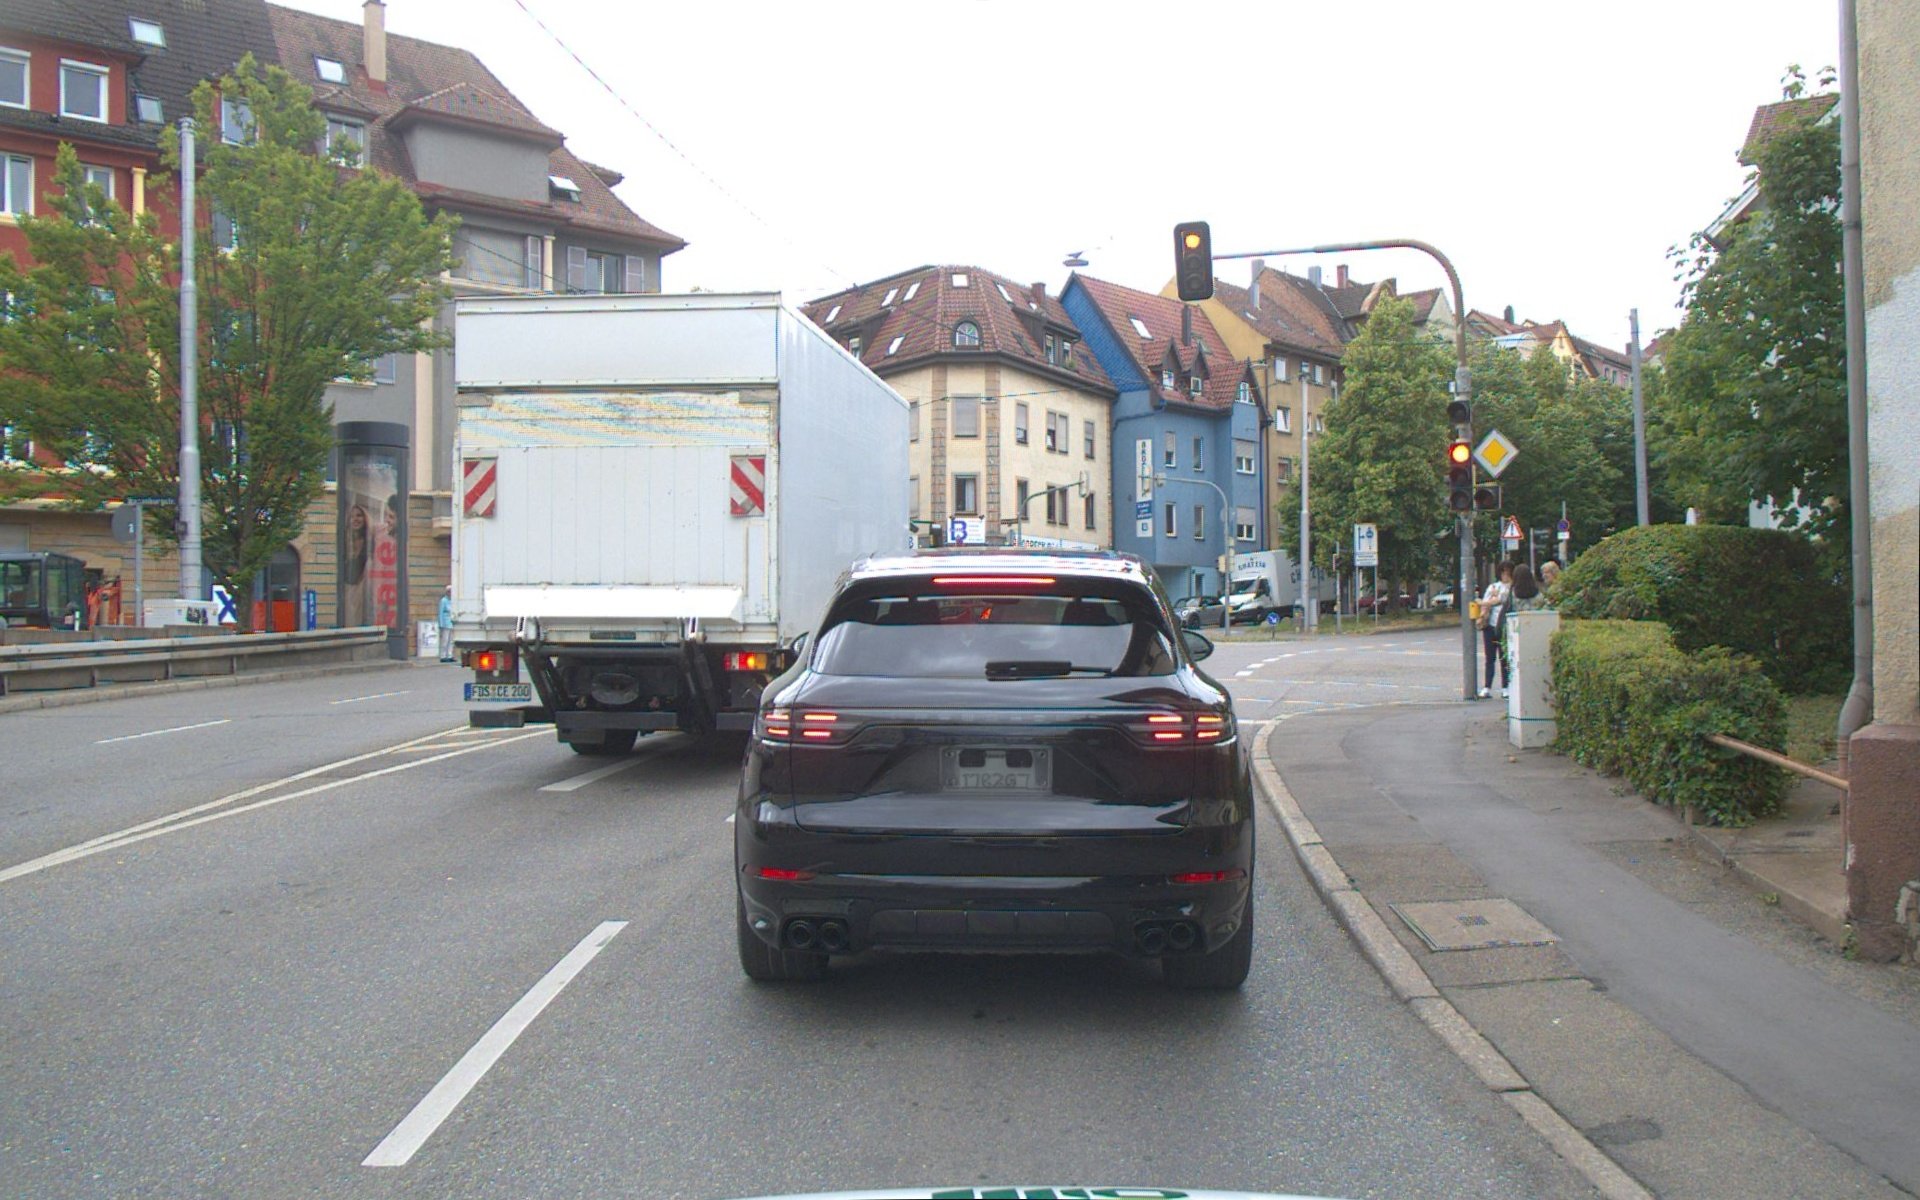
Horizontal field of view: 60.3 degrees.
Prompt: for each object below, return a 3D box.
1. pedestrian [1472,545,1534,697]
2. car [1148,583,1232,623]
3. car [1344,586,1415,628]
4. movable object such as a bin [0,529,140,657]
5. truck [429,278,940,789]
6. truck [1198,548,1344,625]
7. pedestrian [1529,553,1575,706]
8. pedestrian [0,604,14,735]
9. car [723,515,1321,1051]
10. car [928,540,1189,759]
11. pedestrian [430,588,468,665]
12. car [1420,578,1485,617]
[{"bbox_3d":[6.770,0.259,20.635,0.577,1.851,0.529,2,-1,3],"label":"pedestrian"},{"bbox_3d":[10.042,0.137,72.038,1.962,1.713,3.982,0,0,38],"label":"car"},{"bbox_3d":[21.959,0.352,86.497,1.965,2.049,3.975,2,0,42],"label":"car"},{"bbox_3d":[-14.263,-0.122,25.666,1.870,1.802,3.986,2,0,-14],"label":"movable object such as a bin"},{"bbox_3d":[-2.059,-0.530,15.943,2.710,3.637,8.070,0,1,7],"label":"truck"},{"bbox_3d":[14.894,-0.599,78.672,2.830,3.398,8.744,2,0,41],"label":"truck"},{"bbox_3d":[7.378,0.365,20.632,0.453,1.869,0.324,2,-1,14],"label":"pedestrian"},{"bbox_3d":[-13.279,0.940,22.561,0.537,1.760,0.586,2,-1,-35],"label":"pedestrian"},{"bbox_3d":[0.090,0.560,7.345,1.939,1.713,3.997,0,1,-4],"label":"car"},{"bbox_3d":[1.038,0.389,15.069,1.951,1.713,4.003,0,0,10],"label":"car"},{"bbox_3d":[-10.745,0.558,34.789,0.577,1.594,0.486,2,-1,-1],"label":"pedestrian"},{"bbox_3d":[27.624,-0.131,92.707,1.965,2.049,3.975,2,0,42],"label":"car"}]
